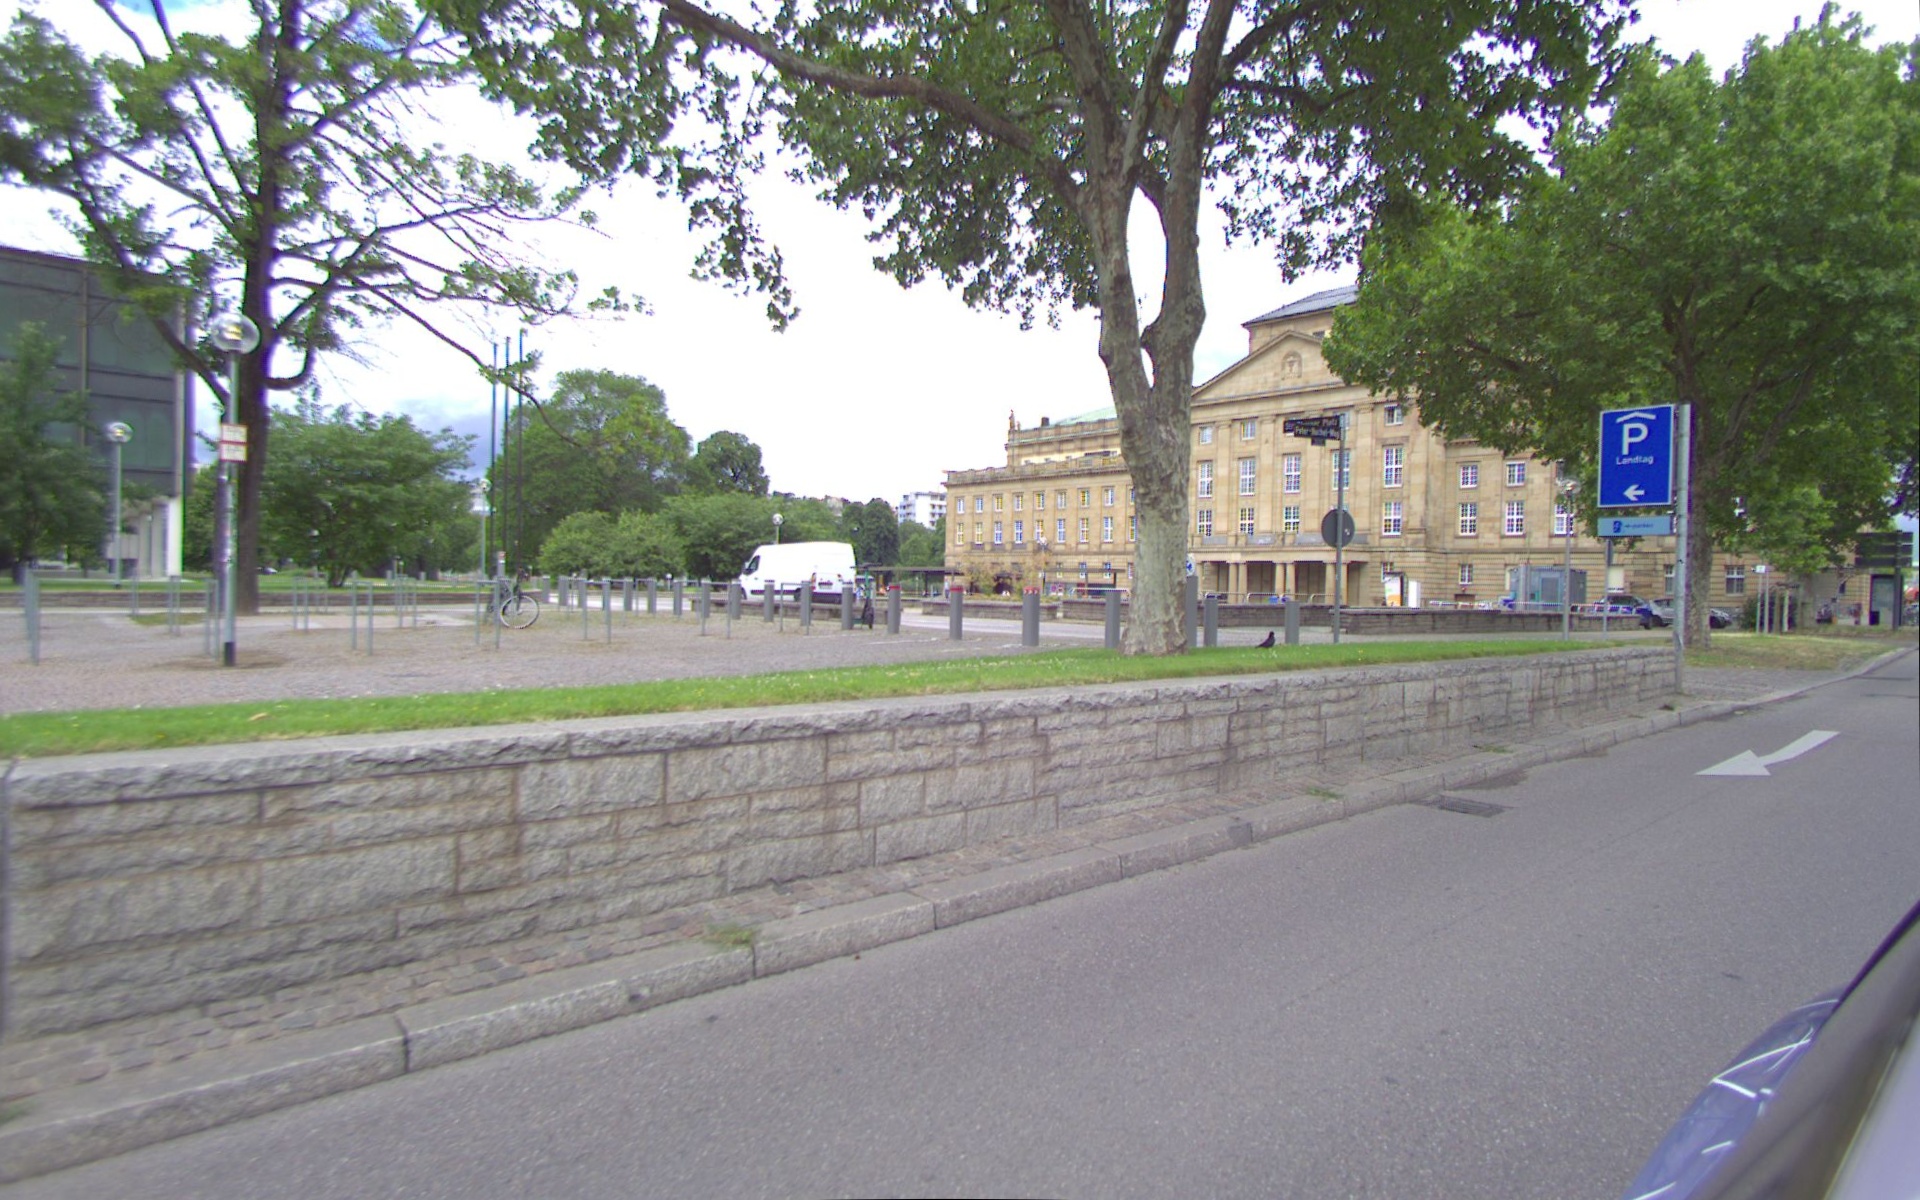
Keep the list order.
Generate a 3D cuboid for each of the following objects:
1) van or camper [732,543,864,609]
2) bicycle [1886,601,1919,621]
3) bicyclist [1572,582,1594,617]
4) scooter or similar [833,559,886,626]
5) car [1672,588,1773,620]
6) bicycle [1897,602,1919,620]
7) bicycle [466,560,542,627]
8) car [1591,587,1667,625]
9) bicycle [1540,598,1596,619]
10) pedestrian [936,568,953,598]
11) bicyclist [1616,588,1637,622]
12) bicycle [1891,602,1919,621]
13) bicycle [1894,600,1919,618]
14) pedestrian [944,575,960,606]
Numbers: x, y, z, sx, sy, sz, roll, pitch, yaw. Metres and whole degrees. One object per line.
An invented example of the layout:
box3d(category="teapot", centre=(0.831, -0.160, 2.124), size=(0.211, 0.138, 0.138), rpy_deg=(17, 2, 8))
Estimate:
box3d(category="van or camper", centre=(-6.318, -0.907, 38.950), size=(2.281, 2.348, 5.705), rpy_deg=(-2, 1, -41))
box3d(category="bicycle", centre=(57.375, 0.665, 61.242), size=(1.910, 1.112, 0.533), rpy_deg=(1, 1, 41))
box3d(category="bicyclist", centre=(37.096, -0.041, 60.242), size=(1.096, 2.039, 1.000), rpy_deg=(1, -1, 33))
box3d(category="scooter or similar", centre=(-1.936, -0.150, 19.451), size=(0.716, 1.262, 0.717), rpy_deg=(0, 1, -43))
box3d(category="car", centre=(39.823, 0.231, 52.894), size=(1.706, 1.616, 3.990), rpy_deg=(-1, -1, -43))
box3d(category="bicycle", centre=(59.396, 0.666, 62.715), size=(1.824, 1.086, 0.527), rpy_deg=(1, 0, 29))
box3d(category="bicycle", centre=(-8.485, -0.149, 18.767), size=(0.674, 1.156, 2.196), rpy_deg=(1, 1, -41))
box3d(category="car", centre=(30.000, 0.283, 45.350), size=(4.142, 1.537, 1.767), rpy_deg=(2, 0, -41))
box3d(category="bicycle", centre=(36.411, 0.508, 60.669), size=(2.822, 1.200, 1.085), rpy_deg=(1, 1, 32))
box3d(category="pedestrian", centre=(-1.072, -1.181, 69.162), size=(0.799, 2.039, 0.859), rpy_deg=(-1, 0, -29))
box3d(category="bicyclist", centre=(40.402, 0.282, 61.372), size=(0.868, 2.039, 0.838), rpy_deg=(-1, -1, 22))
box3d(category="bicycle", centre=(57.936, 0.692, 61.612), size=(1.833, 1.086, 0.610), rpy_deg=(1, 1, 41))
box3d(category="bicycle", centre=(60.368, 0.585, 63.932), size=(1.919, 1.147, 0.536), rpy_deg=(1, 0, 29))
box3d(category="pedestrian", centre=(-0.544, -0.645, 68.305), size=(0.800, 2.039, 0.767), rpy_deg=(-1, 0, -34))
